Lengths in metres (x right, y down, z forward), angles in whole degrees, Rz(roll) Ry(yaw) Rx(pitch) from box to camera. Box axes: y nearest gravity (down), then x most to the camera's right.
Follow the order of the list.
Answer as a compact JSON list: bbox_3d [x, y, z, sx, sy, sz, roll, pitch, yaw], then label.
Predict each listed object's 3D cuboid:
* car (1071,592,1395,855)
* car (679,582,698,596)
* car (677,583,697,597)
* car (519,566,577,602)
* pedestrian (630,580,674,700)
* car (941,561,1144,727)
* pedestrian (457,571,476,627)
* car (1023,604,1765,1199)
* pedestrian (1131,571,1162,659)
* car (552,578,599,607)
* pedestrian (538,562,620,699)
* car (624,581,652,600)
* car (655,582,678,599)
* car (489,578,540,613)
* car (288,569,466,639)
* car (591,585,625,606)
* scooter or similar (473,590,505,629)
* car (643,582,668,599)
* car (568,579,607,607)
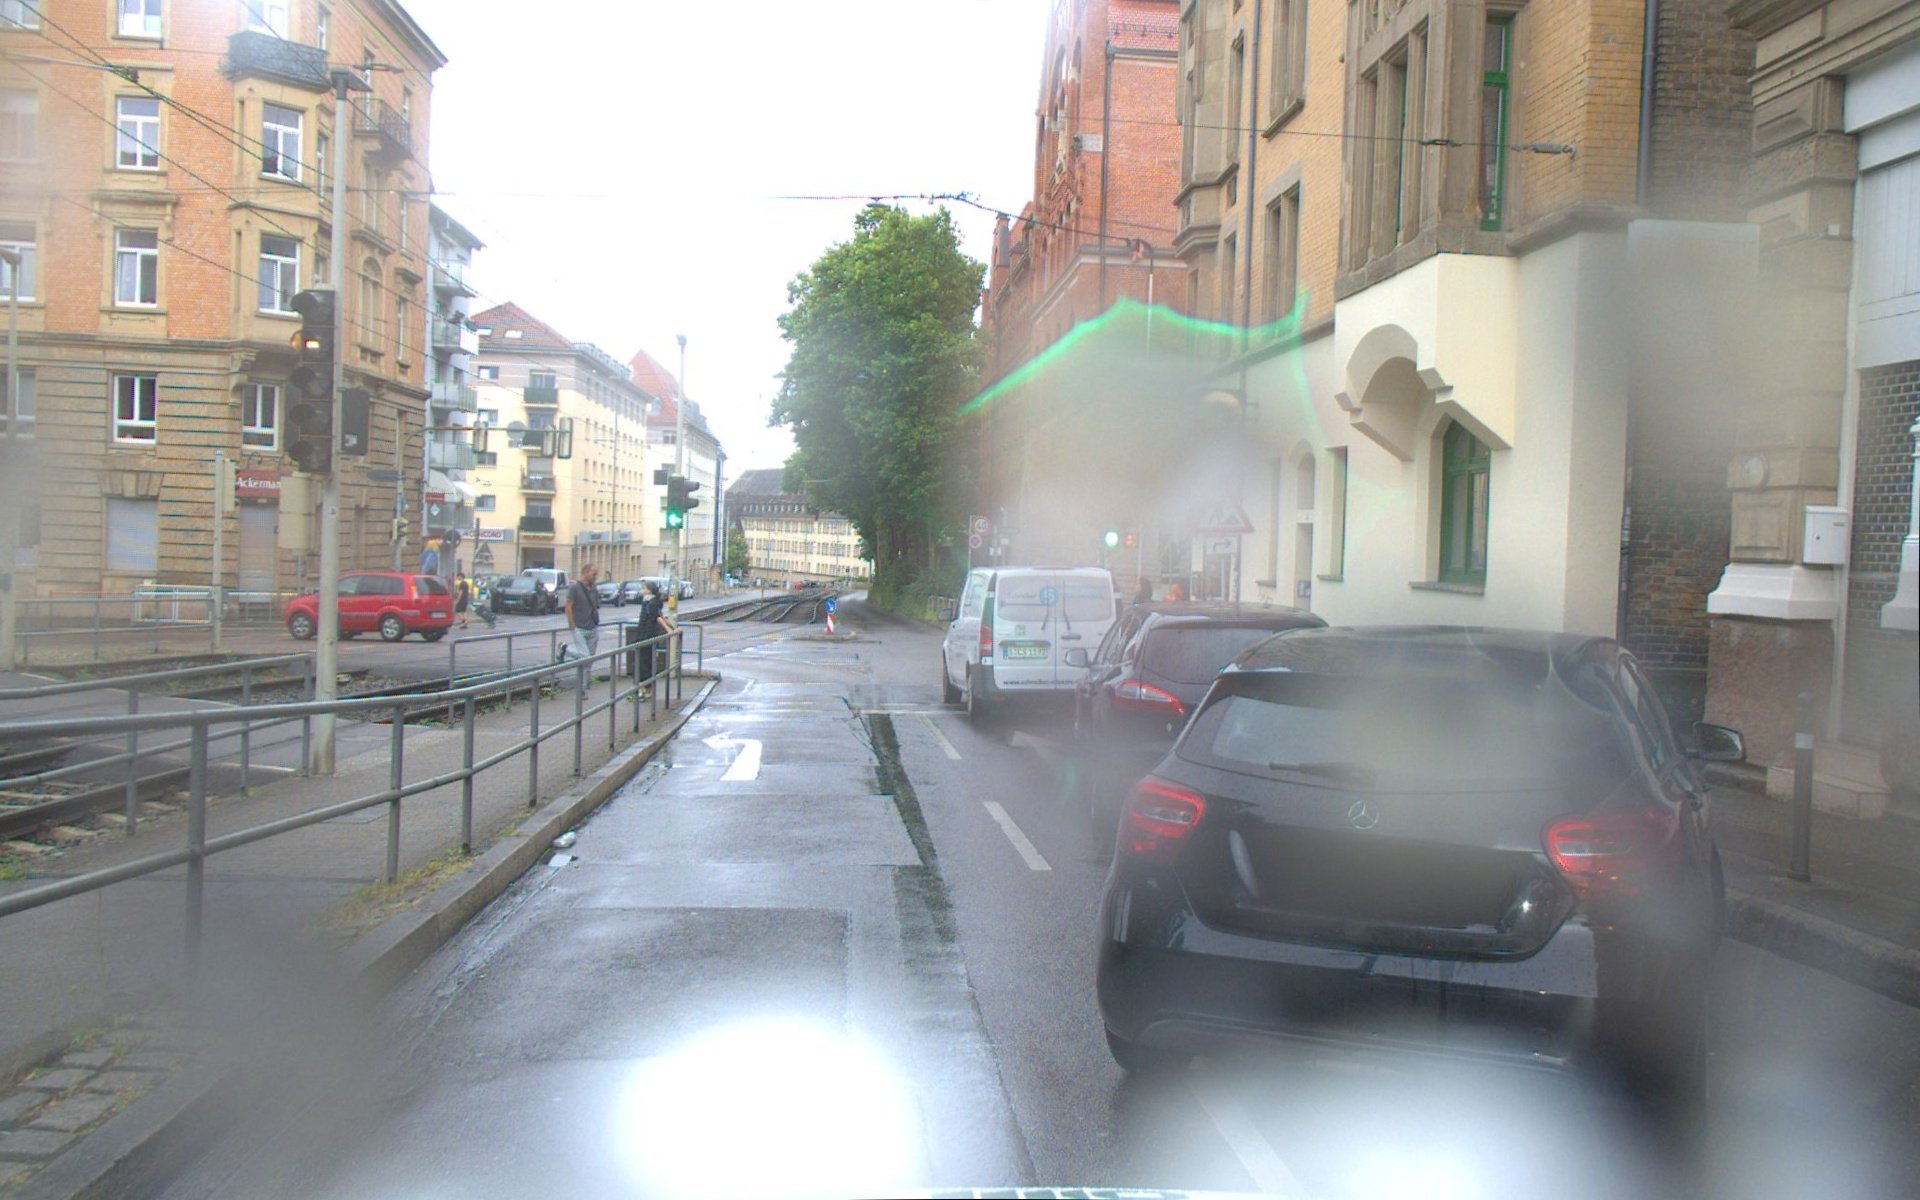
[{"bbox_3d":[1.749,0.721,11.866,1.678,1.494,4.282,2,0,1],"label":"car"},{"bbox_3d":[-24.265,-0.943,147.835,1.367,1.191,3.159,2,0,-3],"label":"car"},{"bbox_3d":[-23.658,-0.856,143.380,1.367,1.191,3.159,2,0,-3],"label":"car"},{"bbox_3d":[-18.939,-0.721,76.194,1.751,1.557,4.459,2,0,-3],"label":"car"},{"bbox_3d":[-4.047,0.518,21.744,0.522,1.557,0.435,2,0,-12],"label":"pedestrian"},{"bbox_3d":[0.936,0.493,21.247,1.896,1.863,4.275,2,0,-6],"label":"car"},{"bbox_3d":[-15.097,-0.039,50.616,0.510,1.695,0.474,1,0,-19],"label":"pedestrian"},{"bbox_3d":[1.859,0.757,6.104,1.857,1.414,3.997,1,0,24],"label":"car"},{"bbox_3d":[2.804,0.225,24.861,0.404,1.293,0.292,2,0,2],"label":"pedestrian"},{"bbox_3d":[-19.215,-0.361,82.834,1.647,1.379,3.700,2,0,-3],"label":"car"},{"bbox_3d":[-5.010,0.395,21.763,0.728,1.754,0.736,1,0,43],"label":"pedestrian"},{"bbox_3d":[-21.127,-0.641,108.584,1.367,1.191,3.159,2,0,-3],"label":"car"},{"bbox_3d":[-22.345,-0.732,125.979,1.367,1.191,3.159,2,0,-3],"label":"car"},{"bbox_3d":[-18.729,-0.204,69.594,1.423,1.341,3.292,3,0,-5],"label":"car"},{"bbox_3d":[-13.339,0.080,37.889,3.525,1.515,1.686,1,0,17],"label":"car"},{"bbox_3d":[-20.263,-0.248,95.213,1.408,1.126,3.159,2,0,-3],"label":"car"},{"bbox_3d":[-14.435,0.288,50.658,0.915,1.183,0.334,1,1,-20],"label":"scooter or similar"},{"bbox_3d":[-22.039,-0.687,119.688,1.367,1.191,3.159,2,0,-3],"label":"car"},{"bbox_3d":[-19.510,-0.373,86.772,1.470,1.379,3.159,2,0,-3],"label":"car"}]
